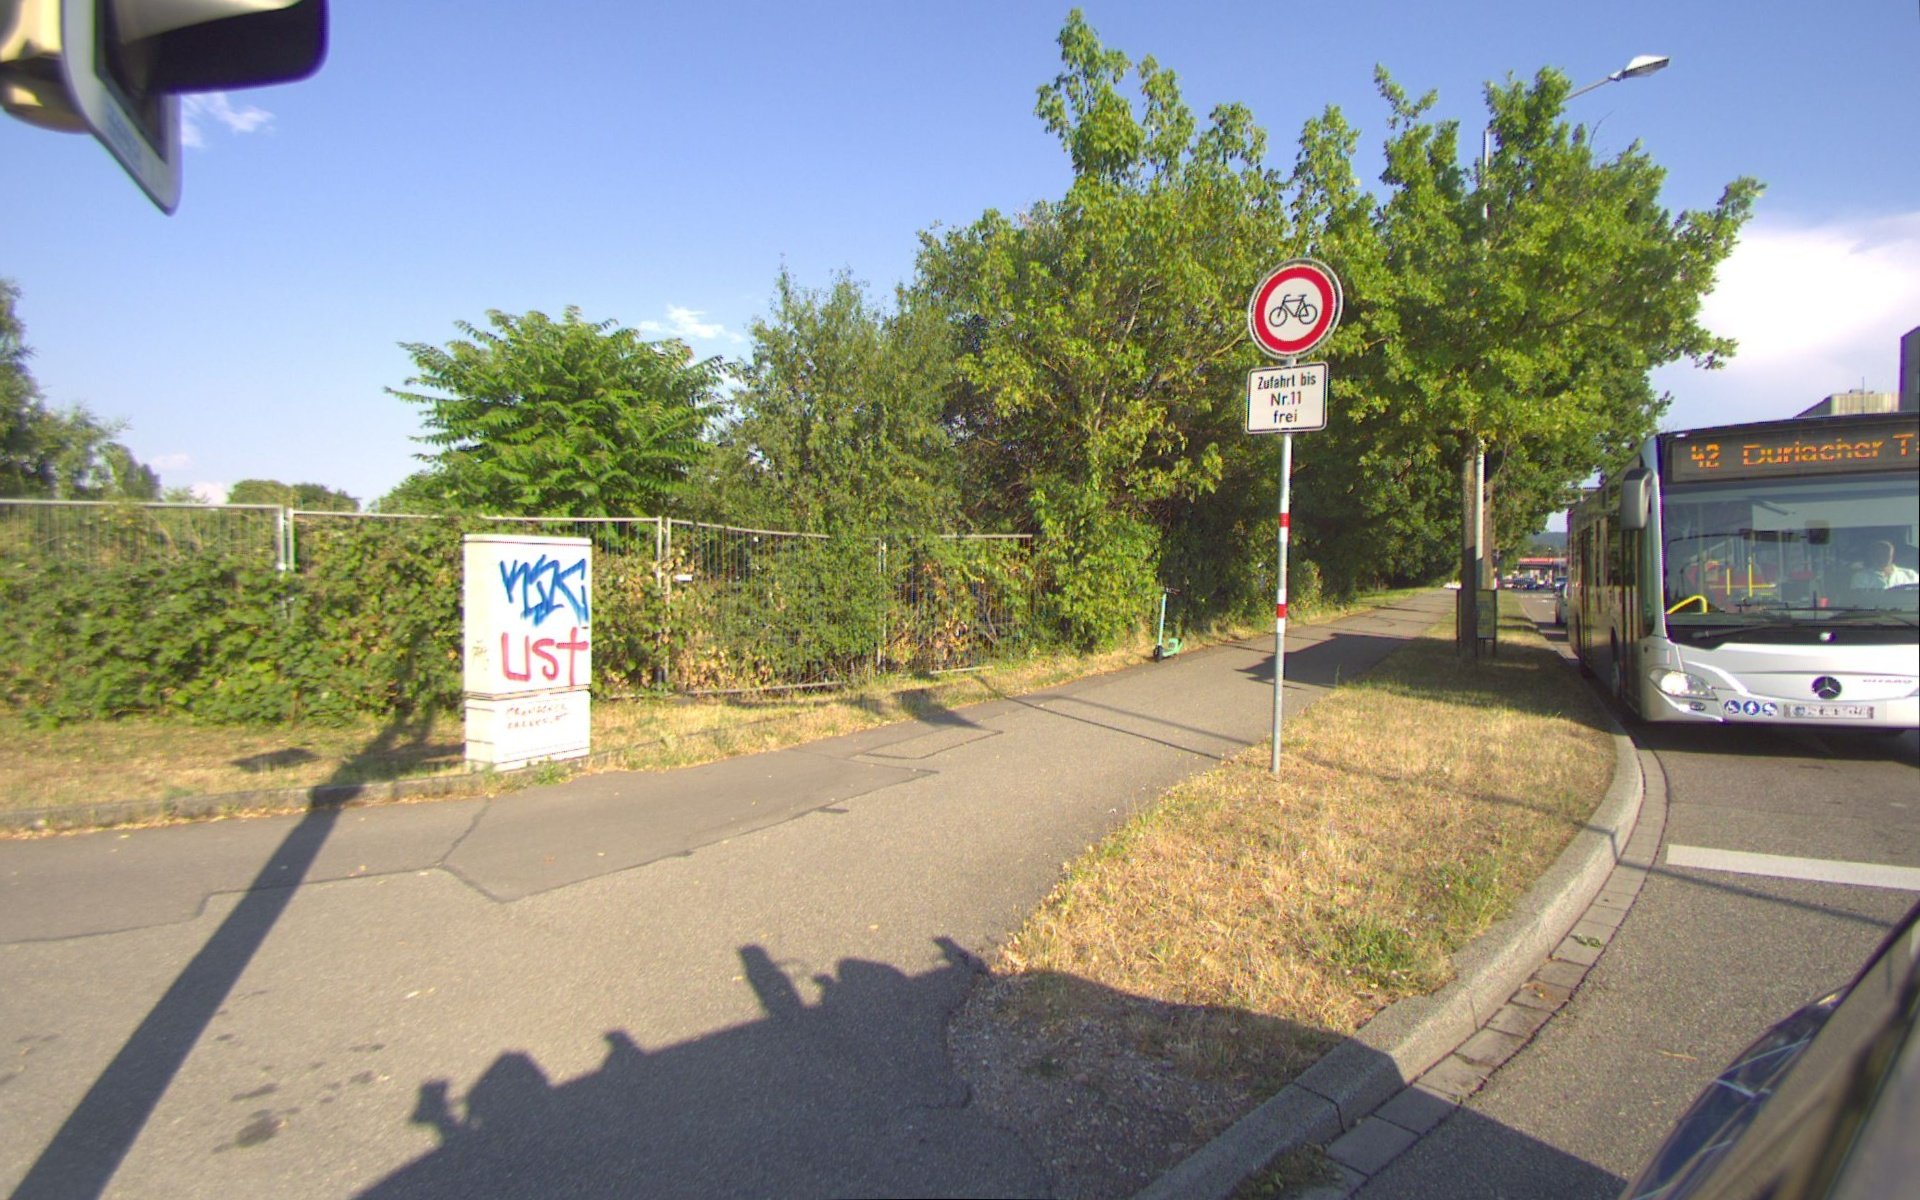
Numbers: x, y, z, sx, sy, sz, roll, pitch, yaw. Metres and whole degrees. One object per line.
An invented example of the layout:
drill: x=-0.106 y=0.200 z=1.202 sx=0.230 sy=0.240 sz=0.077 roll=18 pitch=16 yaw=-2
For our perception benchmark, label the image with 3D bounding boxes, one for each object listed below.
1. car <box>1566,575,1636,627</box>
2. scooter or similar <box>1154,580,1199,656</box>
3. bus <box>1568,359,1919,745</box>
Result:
car: x=21.005 y=-0.018 z=33.256 sx=1.570 sy=1.581 sz=3.594 roll=1 pitch=1 yaw=27
scooter or similar: x=3.376 y=0.266 z=15.745 sx=0.248 sy=1.140 sz=1.082 roll=4 pitch=3 yaw=33
bus: x=9.959 y=-0.473 z=13.461 sx=2.572 sy=3.081 sz=11.605 roll=0 pitch=1 yaw=28
